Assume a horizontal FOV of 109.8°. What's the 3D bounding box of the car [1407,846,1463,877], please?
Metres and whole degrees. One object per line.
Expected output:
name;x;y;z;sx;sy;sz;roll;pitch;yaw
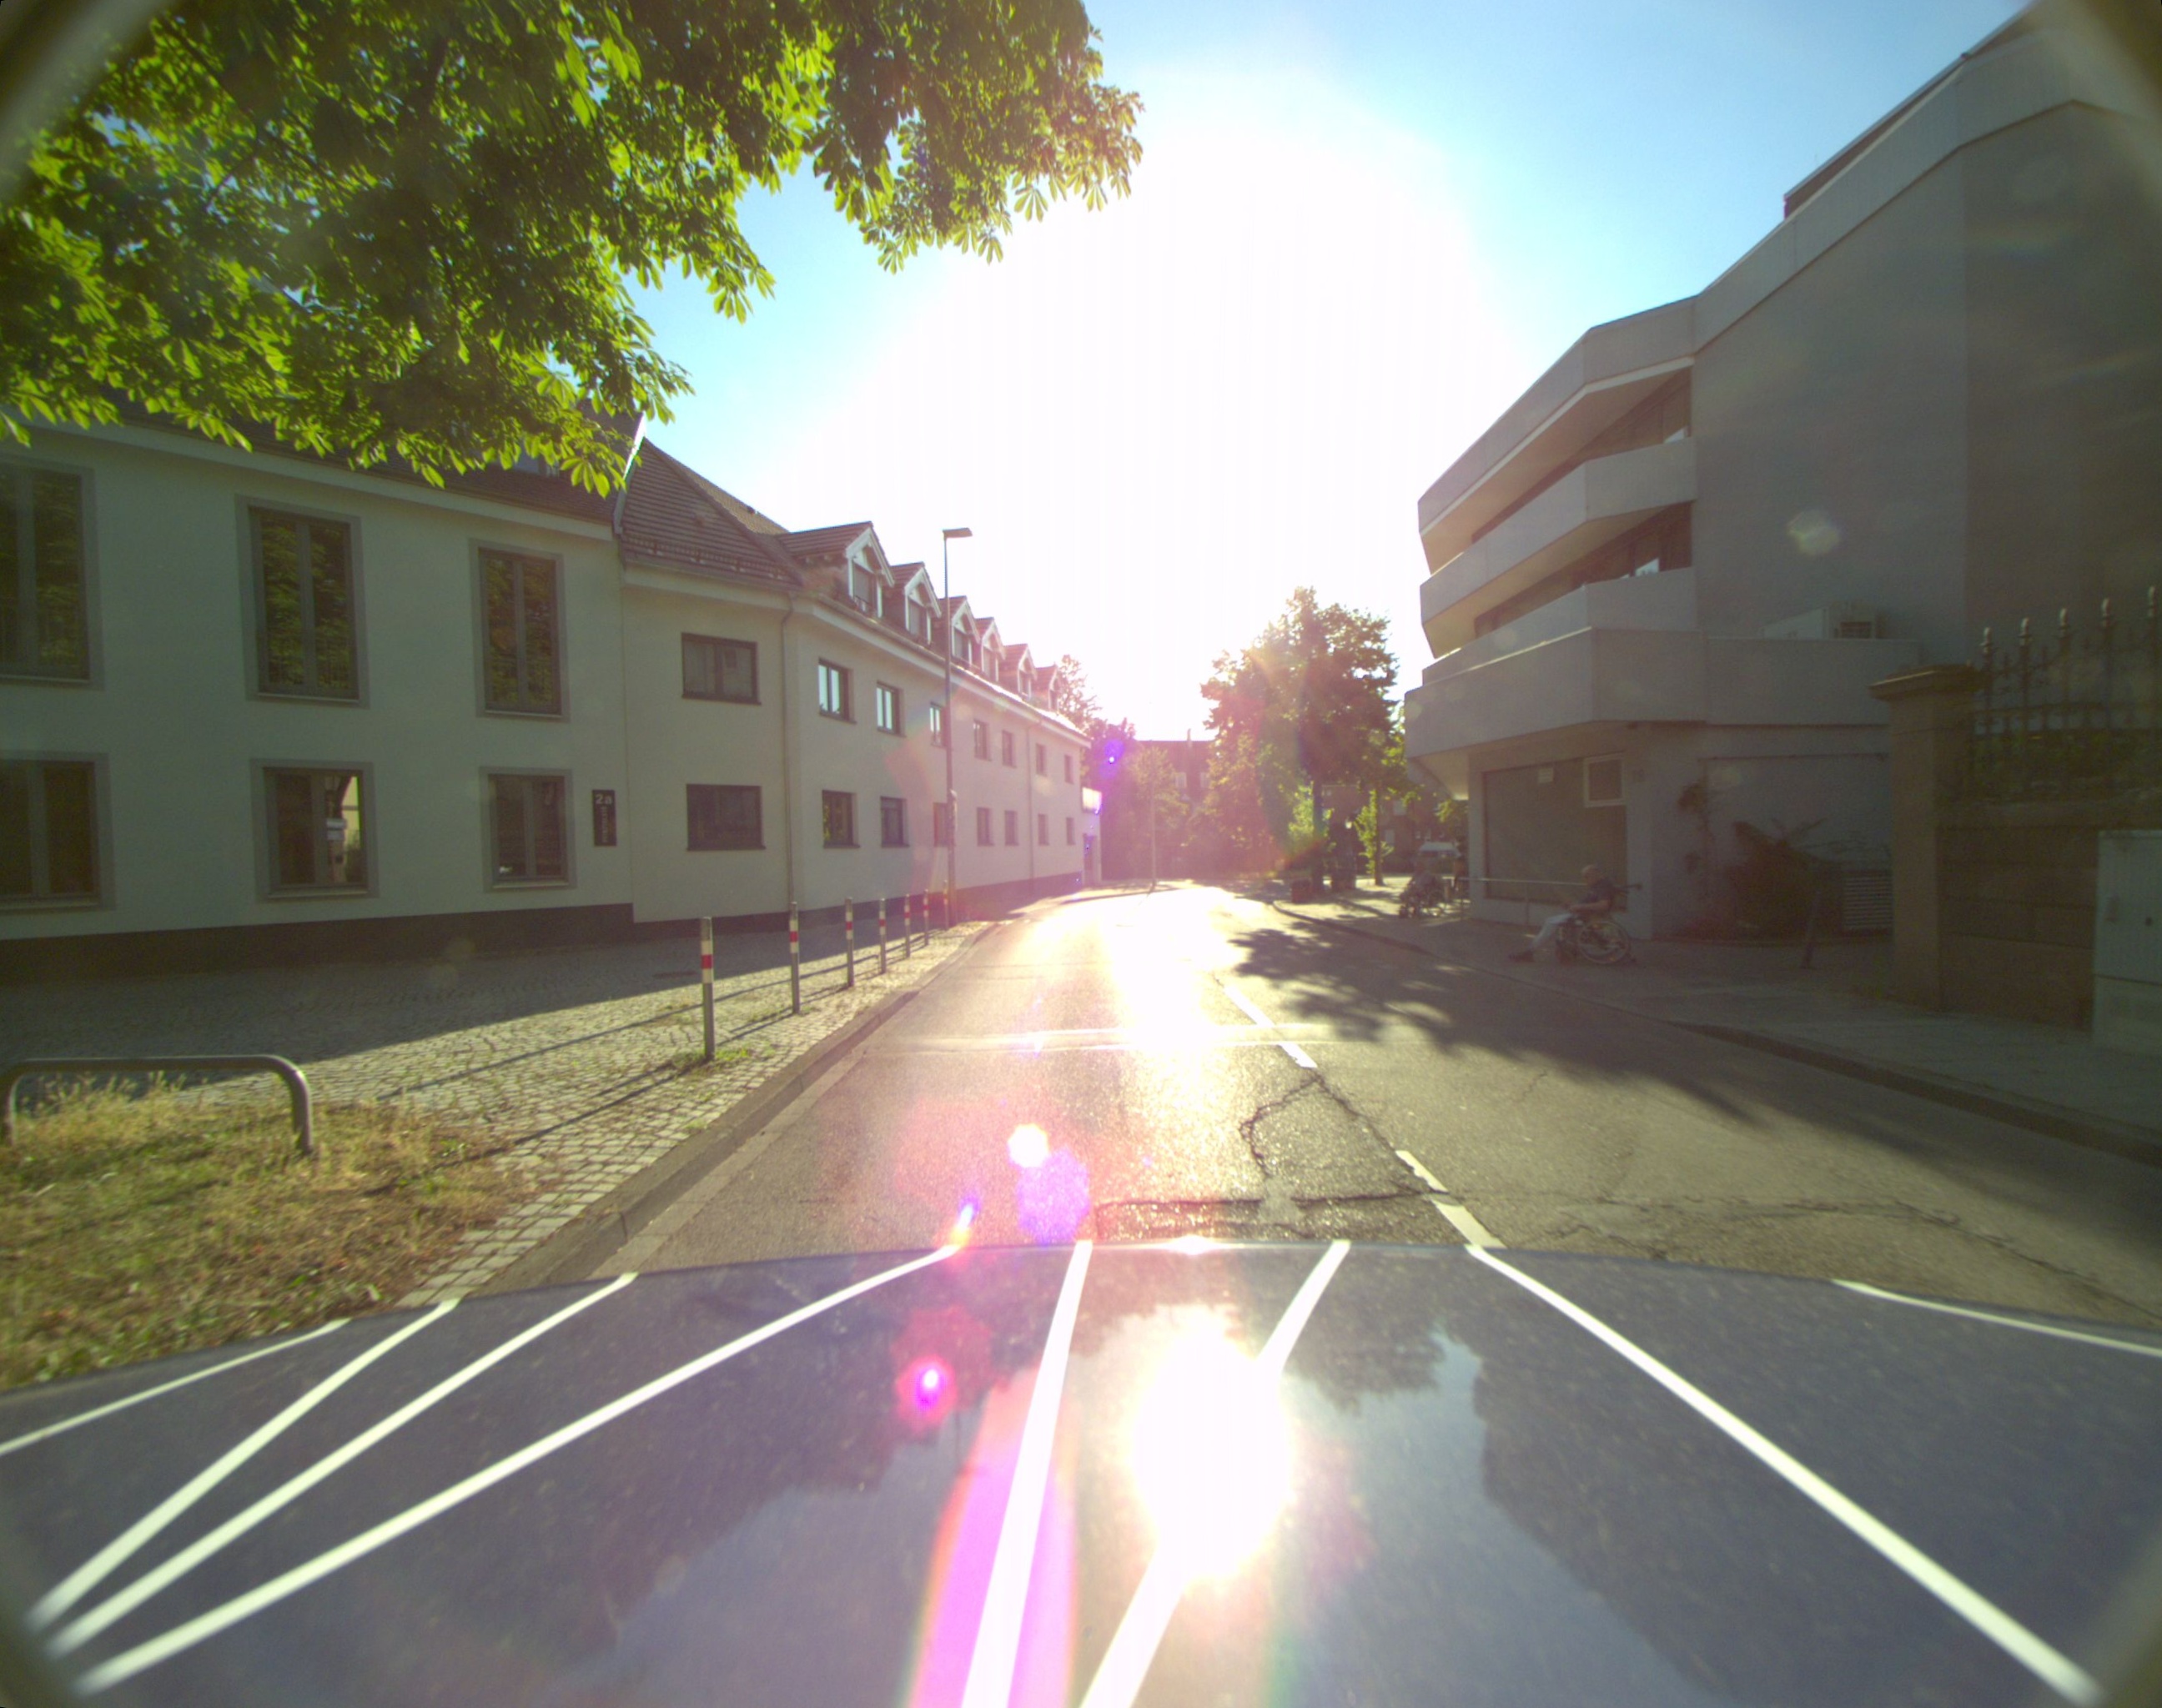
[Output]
car;29.475;0.574;63.432;2.001;2.346;4.203;-3;2;-15

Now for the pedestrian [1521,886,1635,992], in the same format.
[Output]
pedestrian;6.448;1.069;9.867;1.155;1.222;0.842;-3;1;35

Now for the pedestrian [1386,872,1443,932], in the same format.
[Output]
pedestrian;7.134;1.005;16.301;0.743;1.179;0.840;-4;1;-6

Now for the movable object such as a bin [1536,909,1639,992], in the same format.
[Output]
movable object such as a bin;6.532;1.212;9.810;1.035;0.923;0.842;-3;1;35

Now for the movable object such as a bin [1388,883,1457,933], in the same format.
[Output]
movable object such as a bin;7.313;1.144;16.314;1.038;0.923;0.840;-4;1;-7
